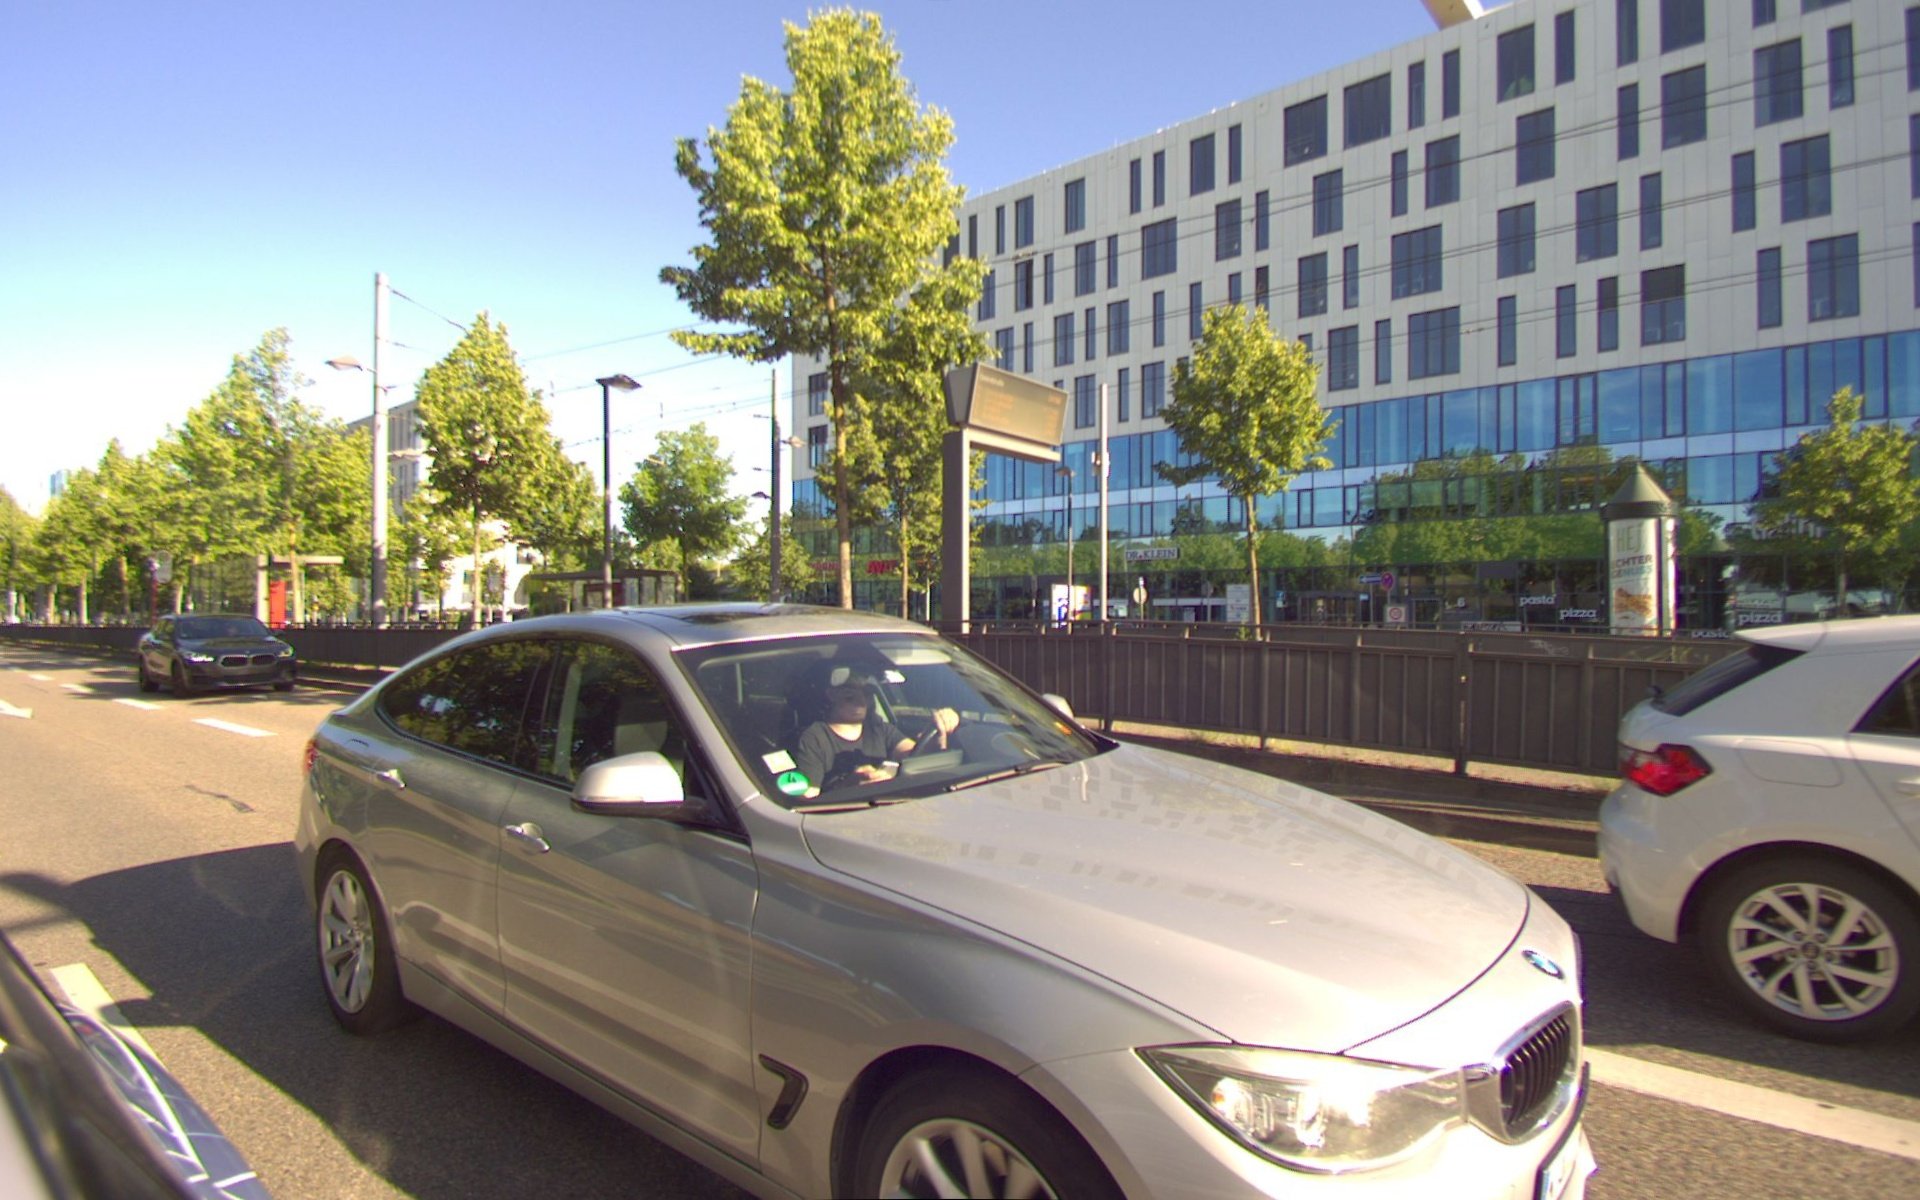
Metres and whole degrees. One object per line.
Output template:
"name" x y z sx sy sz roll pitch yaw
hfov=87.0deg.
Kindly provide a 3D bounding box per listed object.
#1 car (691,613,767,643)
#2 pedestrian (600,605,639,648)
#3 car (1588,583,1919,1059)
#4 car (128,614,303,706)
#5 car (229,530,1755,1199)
"car" -12.638 1.520 55.238 4.340 1.538 1.780 -1 0 40
"pedestrian" -12.105 0.936 35.976 1.053 1.477 0.845 0 -1 -44
"car" 4.310 0.643 2.976 4.002 1.437 1.655 -1 0 39
"car" -14.424 1.072 19.517 4.340 1.538 1.780 -1 0 40
"car" -0.528 0.720 3.313 4.905 1.538 1.781 -1 0 39
